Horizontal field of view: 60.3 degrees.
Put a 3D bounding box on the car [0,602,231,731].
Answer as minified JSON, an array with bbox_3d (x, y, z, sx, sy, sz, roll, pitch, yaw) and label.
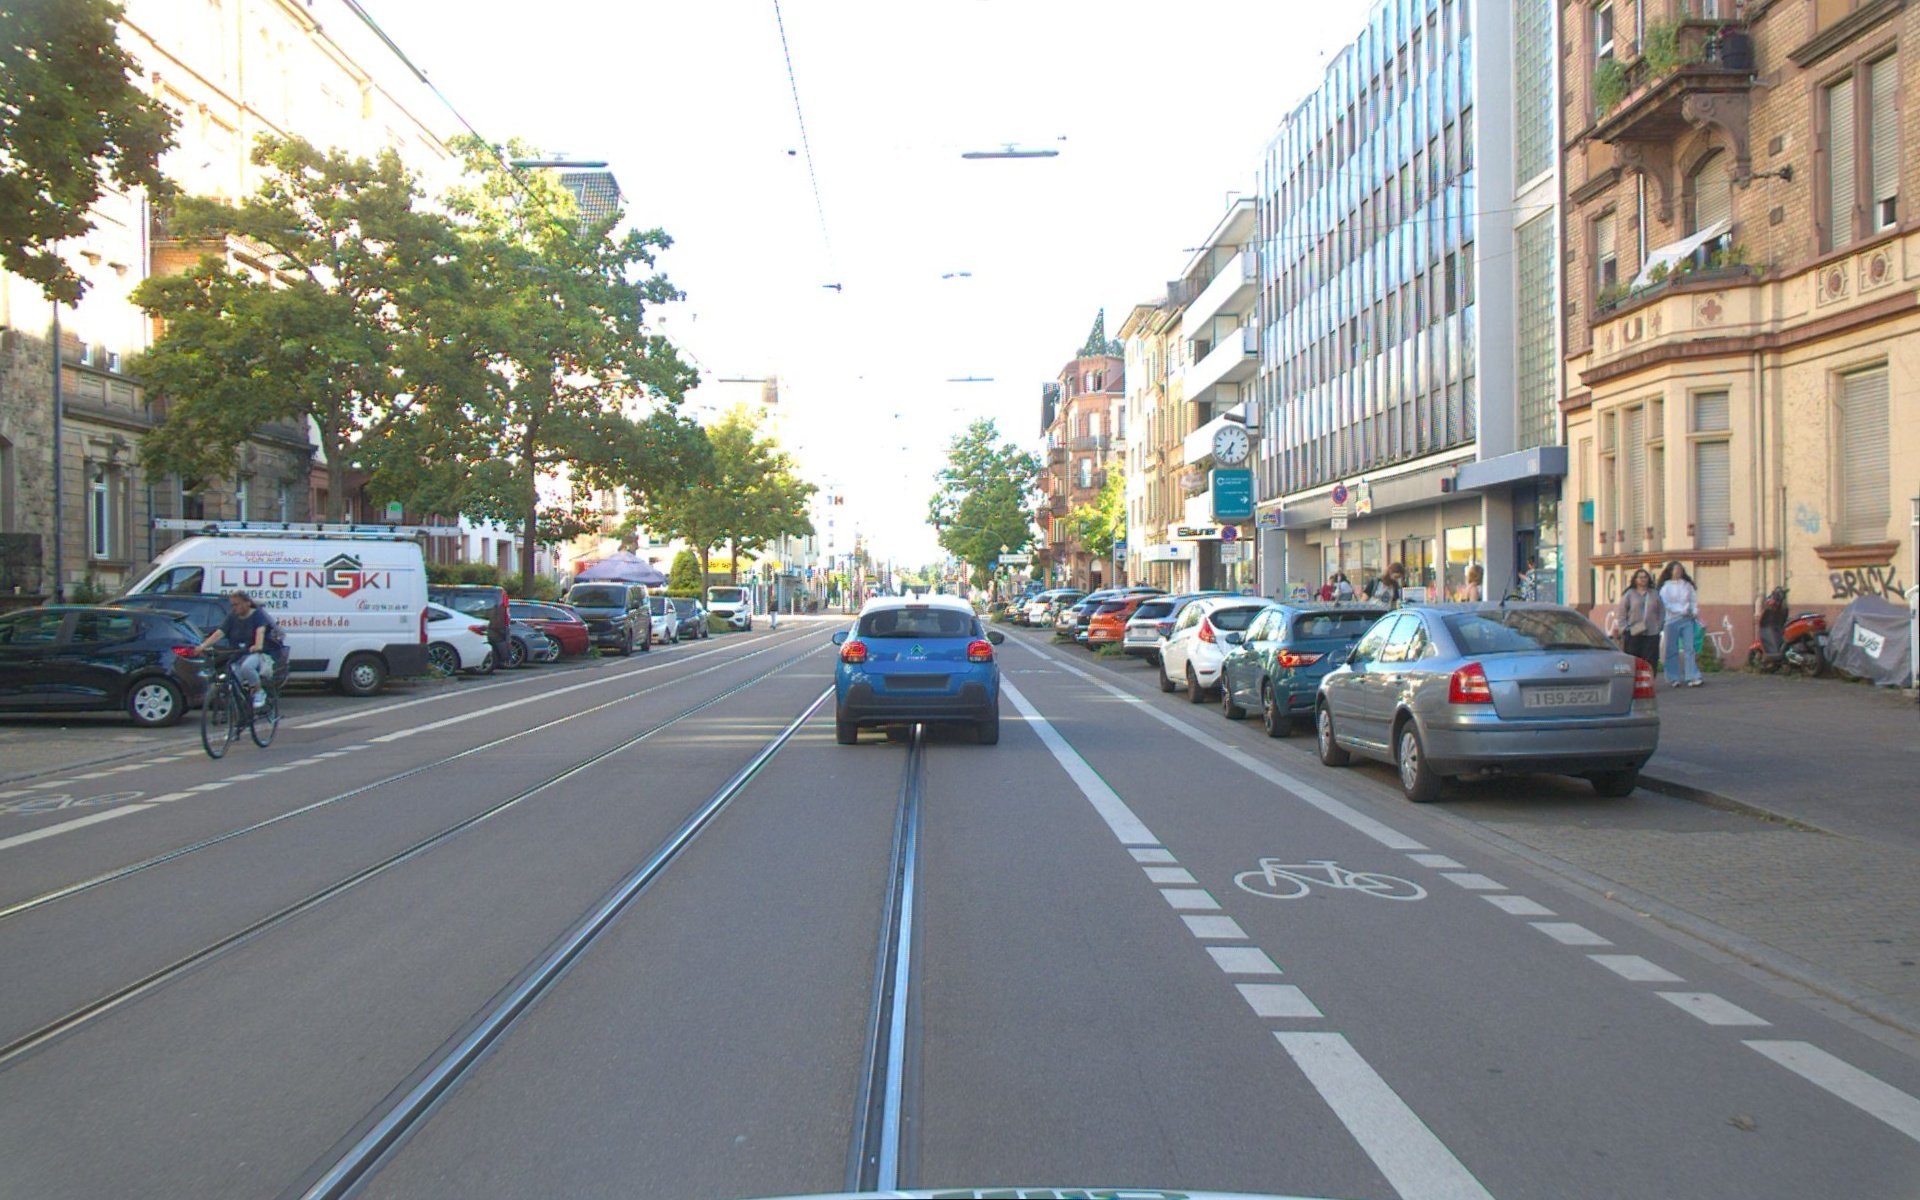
[{"bbox_3d":[-11.282,0.790,20.472,3.924,1.515,1.797,0,0,-18],"label":"car"}]

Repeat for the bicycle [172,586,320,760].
[{"bbox_3d":[-7.402,0.716,17.257,0.666,1.708,2.096,0,0,-1],"label":"bicycle"}]

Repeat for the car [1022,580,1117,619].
[{"bbox_3d":[4.645,-0.003,69.973,3.615,1.601,1.842,0,0,-30],"label":"car"}]

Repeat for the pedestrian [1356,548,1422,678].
[{"bbox_3d":[5.705,0.172,22.013,0.697,1.701,0.654,0,0,-2],"label":"pedestrian"}]

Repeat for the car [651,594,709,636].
[{"bbox_3d":[-10.397,0.557,61.621,1.713,1.513,4.038,0,0,-4],"label":"car"}]

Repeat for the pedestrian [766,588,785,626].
[{"bbox_3d":[-8.734,0.335,78.219,0.720,1.756,0.623,0,0,-25],"label":"pedestrian"}]

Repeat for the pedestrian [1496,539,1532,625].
[{"bbox_3d":[12.003,-0.391,35.845,0.709,1.837,0.722,0,0,16],"label":"pedestrian"}]

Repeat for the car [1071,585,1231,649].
[{"bbox_3d":[4.840,0.406,41.764,3.686,1.547,1.945,0,0,-34],"label":"car"}]

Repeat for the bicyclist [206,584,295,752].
[{"bbox_3d":[-7.391,0.697,17.259,0.621,1.711,0.726,0,0,-1],"label":"bicyclist"}]

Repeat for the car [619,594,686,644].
[{"bbox_3d":[-10.362,0.624,55.994,1.713,1.646,4.407,0,0,-4],"label":"car"}]

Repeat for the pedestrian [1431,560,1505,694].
[{"bbox_3d":[6.313,0.329,20.580,0.697,1.635,0.654,0,0,-2],"label":"pedestrian"}]

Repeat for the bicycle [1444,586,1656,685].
[{"bbox_3d":[7.542,0.442,21.194,2.487,1.243,0.663,0,0,-2],"label":"bicycle"}]

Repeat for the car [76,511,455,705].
[{"bbox_3d":[-10.838,0.118,25.992,5.316,2.797,1.787,0,0,-31],"label":"car"}]

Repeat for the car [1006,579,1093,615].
[{"bbox_3d":[4.092,-0.126,76.052,3.601,1.601,1.850,0,0,-21],"label":"car"}]

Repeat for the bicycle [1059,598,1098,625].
[{"bbox_3d":[4.729,0.440,66.299,0.549,1.066,1.785,0,0,-36],"label":"bicycle"}]

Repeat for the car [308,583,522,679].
[{"bbox_3d":[-11.076,0.601,33.639,3.939,1.848,1.698,0,0,-27],"label":"car"}]

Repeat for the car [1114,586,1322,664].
[{"bbox_3d":[5.438,0.499,34.661,4.394,1.534,1.520,0,0,-31],"label":"car"}]

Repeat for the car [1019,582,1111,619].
[{"bbox_3d":[4.583,0.018,72.486,3.601,1.601,1.850,0,0,-21],"label":"car"}]

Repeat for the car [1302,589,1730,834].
[{"bbox_3d":[4.194,0.747,13.375,1.835,1.624,4.718,0,0,-1],"label":"car"}]

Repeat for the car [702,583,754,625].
[{"bbox_3d":[-10.471,0.175,74.916,1.794,1.880,4.213,0,0,-1],"label":"car"}]

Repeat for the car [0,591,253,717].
[{"bbox_3d":[-11.928,0.702,22.788,3.939,1.646,1.698,0,0,-27],"label":"car"}]

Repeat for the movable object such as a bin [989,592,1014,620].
[{"bbox_3d":[2.297,0.326,91.898,1.366,1.509,1.655,0,0,-1],"label":"movable object such as a bin"}]

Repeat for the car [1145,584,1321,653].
[{"bbox_3d":[6.274,0.417,37.970,3.735,1.513,1.819,0,0,-31],"label":"car"}]

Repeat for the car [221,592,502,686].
[{"bbox_3d":[-11.128,0.682,30.888,4.713,1.646,1.692,0,0,-34],"label":"car"}]

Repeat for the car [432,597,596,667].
[{"bbox_3d":[-10.796,0.746,40.051,3.672,1.651,1.777,0,0,-23],"label":"car"}]

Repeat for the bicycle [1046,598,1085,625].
[{"bbox_3d":[4.217,0.444,65.931,0.549,1.066,1.785,0,0,-36],"label":"bicycle"}]

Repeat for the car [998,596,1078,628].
[{"bbox_3d":[3.883,0.591,82.626,3.601,1.561,1.778,0,0,-21],"label":"car"}]

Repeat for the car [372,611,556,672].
[{"bbox_3d":[-11.048,0.887,36.847,3.752,1.287,1.503,0,0,-27],"label":"car"}]

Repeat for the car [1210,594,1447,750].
[{"bbox_3d":[4.151,0.756,19.269,1.835,1.624,3.999,0,0,-1],"label":"car"}]

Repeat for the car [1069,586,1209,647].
[{"bbox_3d":[4.797,0.425,44.261,3.409,1.582,1.804,0,0,-33],"label":"car"}]

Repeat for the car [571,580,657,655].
[{"bbox_3d":[-9.766,0.462,47.032,1.713,2.008,5.236,0,0,-4],"label":"car"}]

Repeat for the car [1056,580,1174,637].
[{"bbox_3d":[4.714,0.240,50.152,3.417,1.668,1.662,0,0,-38],"label":"car"}]

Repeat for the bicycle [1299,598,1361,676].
[{"bbox_3d":[5.880,0.579,26.343,0.679,1.206,1.238,0,0,-2],"label":"bicycle"}]

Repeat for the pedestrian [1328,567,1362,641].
[{"bbox_3d":[9.467,0.099,40.699,0.678,1.786,0.678,0,0,-1],"label":"pedestrian"}]

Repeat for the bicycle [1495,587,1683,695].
[{"bbox_3d":[7.558,0.487,19.912,2.015,1.243,0.663,-1,0,-3],"label":"bicycle"}]

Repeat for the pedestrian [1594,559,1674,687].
[{"bbox_3d":[8.906,0.300,21.866,0.697,1.635,0.654,-3,0,-2],"label":"pedestrian"}]

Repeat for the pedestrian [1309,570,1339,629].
[{"bbox_3d":[10.140,-0.014,46.113,0.678,1.615,0.678,0,0,-1],"label":"pedestrian"}]

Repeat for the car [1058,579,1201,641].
[{"bbox_3d":[4.865,0.277,47.386,3.686,1.681,2.023,0,0,-34],"label":"car"}]

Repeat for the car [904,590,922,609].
[{"bbox_3d":[-3.667,-0.011,129.593,1.394,1.457,3.138,0,0,-1],"label":"car"}]

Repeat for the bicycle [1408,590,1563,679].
[{"bbox_3d":[7.407,0.478,23.338,1.978,1.243,0.663,0,0,-2],"label":"bicycle"}]

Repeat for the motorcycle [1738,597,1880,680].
[{"bbox_3d":[11.208,0.483,21.942,0.496,1.009,2.518,-4,0,-1],"label":"motorcycle"}]

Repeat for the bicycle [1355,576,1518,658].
[{"bbox_3d":[7.293,0.261,25.381,2.309,1.243,0.664,0,0,2],"label":"bicycle"}]

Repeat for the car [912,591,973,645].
[{"bbox_3d":[-0.550,0.536,51.404,1.835,1.624,3.999,0,0,-1],"label":"car"}]

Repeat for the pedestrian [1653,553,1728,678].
[{"bbox_3d":[9.684,0.207,21.942,0.697,1.635,0.654,0,0,-2],"label":"pedestrian"}]

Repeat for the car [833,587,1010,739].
[{"bbox_3d":[-0.414,0.615,17.872,1.726,1.466,3.556,0,0,-1],"label":"car"}]

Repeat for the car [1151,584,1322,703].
[{"bbox_3d":[4.029,0.602,24.721,1.835,1.624,3.999,0,0,-1],"label":"car"}]
